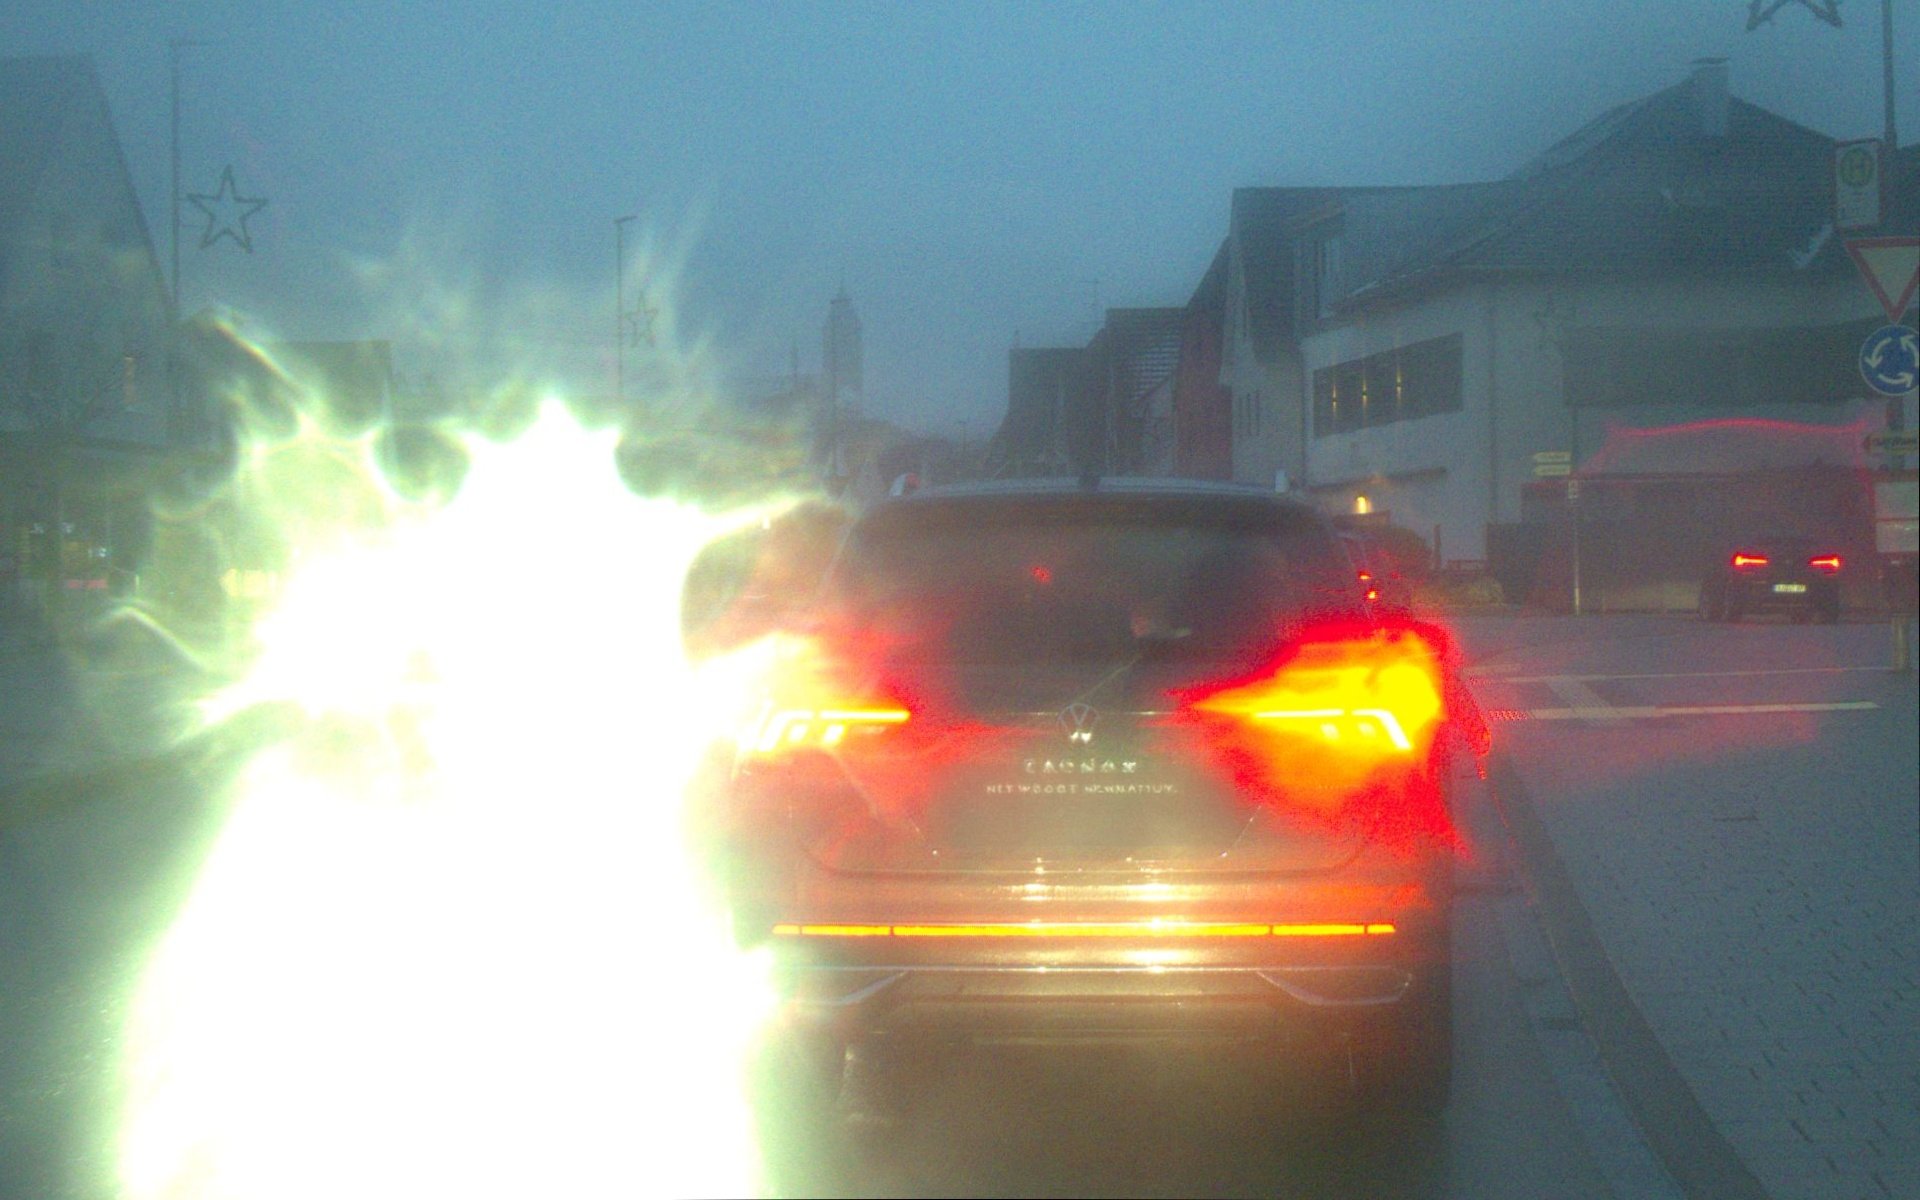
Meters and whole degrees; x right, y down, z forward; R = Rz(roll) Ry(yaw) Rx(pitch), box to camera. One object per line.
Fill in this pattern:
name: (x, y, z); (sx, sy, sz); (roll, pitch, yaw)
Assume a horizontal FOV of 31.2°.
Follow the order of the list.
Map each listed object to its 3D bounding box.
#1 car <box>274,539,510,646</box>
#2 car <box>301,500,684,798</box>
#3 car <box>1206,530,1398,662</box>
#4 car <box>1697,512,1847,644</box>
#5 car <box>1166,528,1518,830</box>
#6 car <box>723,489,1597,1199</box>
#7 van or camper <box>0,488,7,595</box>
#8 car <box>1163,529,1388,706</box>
car: (-9.015, -0.152, 54.378); (1.994, 1.413, 3.999); (-6, 6, -36)
car: (-2.785, 0.226, 21.305); (1.737, 1.647, 4.000); (-1, 1, 1)
car: (3.831, -0.087, 39.054); (1.994, 1.387, 4.000); (-1, 1, 3)
car: (13.533, -0.408, 57.531); (2.159, 1.984, 4.497); (-4, 1, 11)
car: (1.990, 0.343, 18.725); (1.682, 1.448, 4.000); (-1, 1, 4)
car: (0.587, 0.501, 9.978); (1.964, 1.589, 4.313); (1, 1, 4)
van or camper: (-20.335, -1.019, 62.593); (5.535, 1.948, 1.998); (0, 1, 17)
car: (2.803, 0.101, 30.153); (1.815, 1.407, 3.999); (1, 2, 6)
